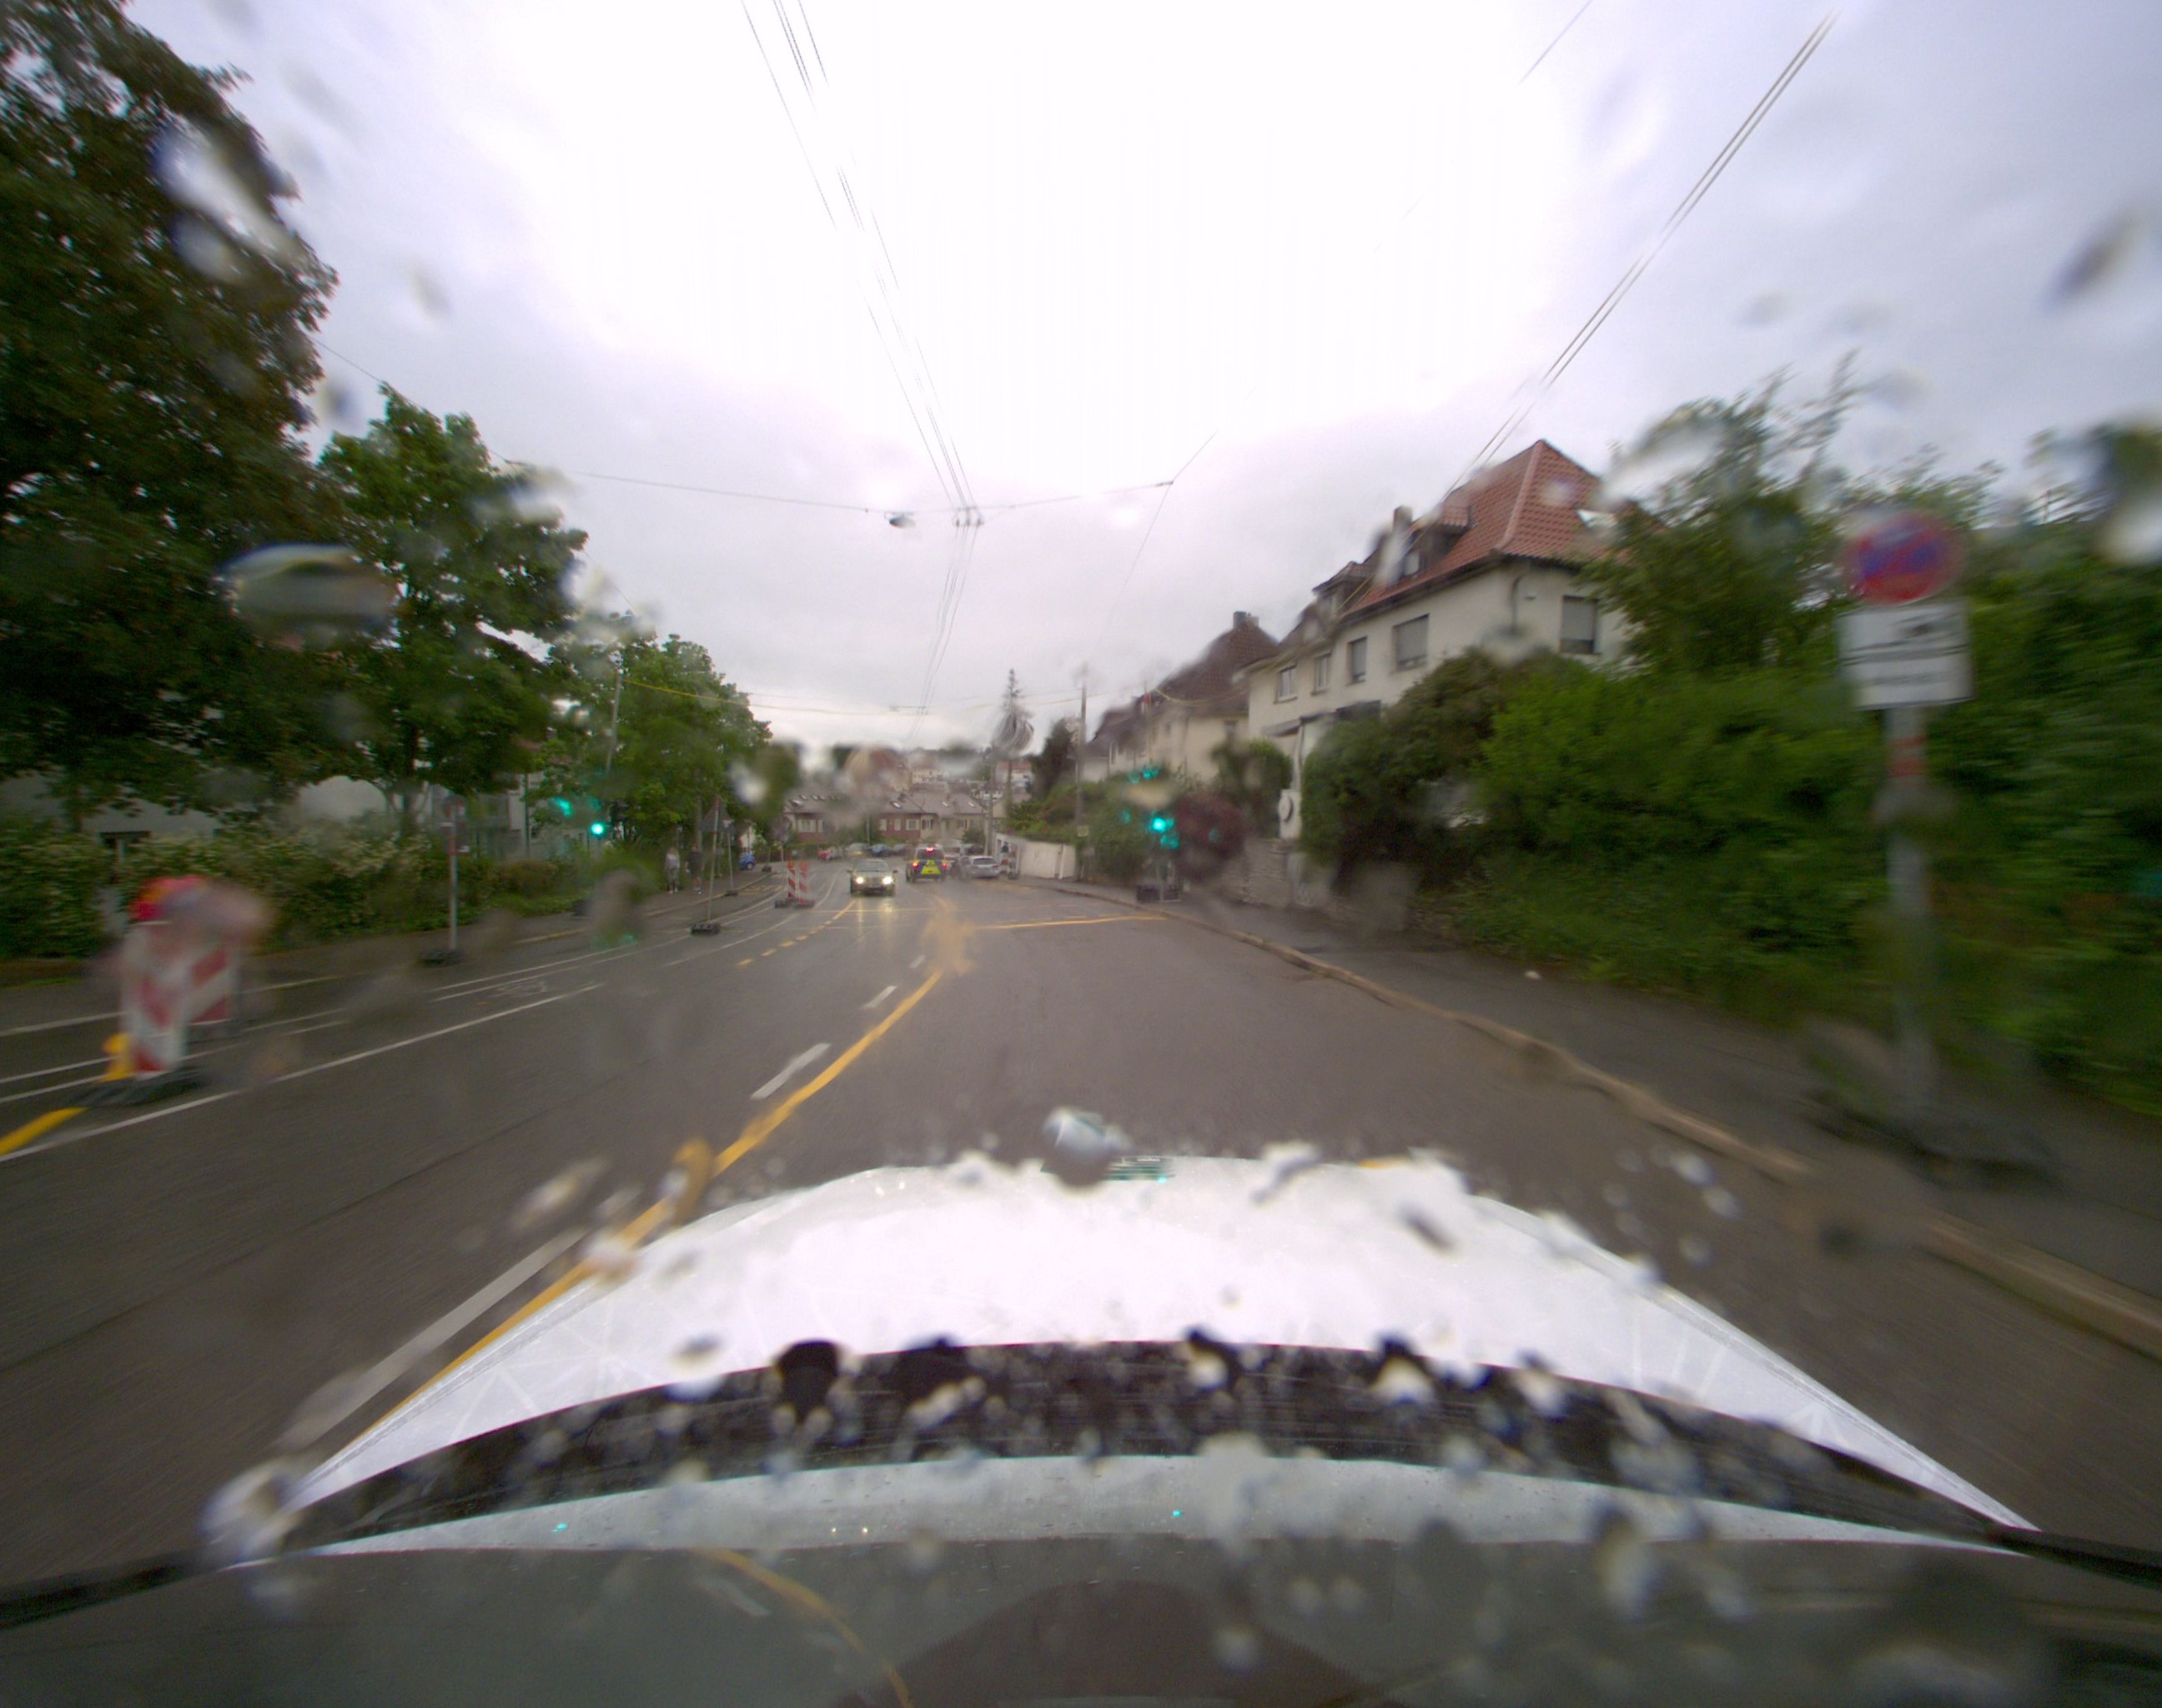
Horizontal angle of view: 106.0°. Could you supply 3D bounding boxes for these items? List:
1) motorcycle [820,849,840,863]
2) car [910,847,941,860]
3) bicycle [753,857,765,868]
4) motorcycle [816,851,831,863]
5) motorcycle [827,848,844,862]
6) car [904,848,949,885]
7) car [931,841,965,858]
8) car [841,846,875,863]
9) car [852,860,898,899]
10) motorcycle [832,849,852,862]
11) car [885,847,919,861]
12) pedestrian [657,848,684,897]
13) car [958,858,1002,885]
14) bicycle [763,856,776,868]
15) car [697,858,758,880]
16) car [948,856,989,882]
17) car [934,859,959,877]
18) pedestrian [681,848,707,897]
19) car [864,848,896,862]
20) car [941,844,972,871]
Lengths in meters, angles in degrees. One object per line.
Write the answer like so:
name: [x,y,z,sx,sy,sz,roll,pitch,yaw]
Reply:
motorcycle: [-25.242,0.183,81.826,1.793,1.279,0.512,3,1,5]
car: [-19.947,-0.104,104.467,1.794,1.476,4.544,4,1,19]
bicycle: [-31.732,0.858,80.300,1.312,1.035,0.307,-3,-4,24]
motorcycle: [-25.329,0.325,80.201,0.506,1.140,1.929,0,1,13]
motorcycle: [-24.960,0.136,82.858,1.784,1.303,0.617,5,2,34]
car: [-8.803,0.651,46.299,2.310,1.939,4.307,-2,1,-12]
car: [-17.936,-0.561,109.977,1.832,2.078,5.049,4,1,25]
car: [-24.214,0.055,88.690,1.911,1.576,4.397,4,2,7]
car: [-8.670,1.000,34.019,1.702,1.461,4.658,-1,0,-16]
motorcycle: [-24.791,0.182,84.452,1.910,1.271,0.571,3,1,-26]
car: [-21.725,-0.013,99.123,1.793,1.476,4.546,4,1,21]
pedestrian: [-15.442,0.676,30.680,0.682,1.816,1.149,1,0,-17]
car: [-5.704,0.954,45.601,1.785,1.420,4.405,-1,0,-16]
bicycle: [-30.473,0.782,79.704,1.288,1.035,0.307,-3,-4,22]
car: [-27.881,1.178,64.332,1.818,1.666,3.967,-1,-2,38]
car: [-6.985,0.885,50.253,1.719,1.513,3.974,0,0,-19]
car: [-10.550,1.088,63.824,1.707,1.414,4.023,0,-1,-13]
pedestrian: [-14.682,0.691,30.922,0.709,1.816,1.141,1,0,-17]
car: [-23.133,0.058,93.838,1.688,1.404,4.488,4,2,12]
car: [-12.350,0.337,81.333,2.091,2.542,5.621,0,0,1]
